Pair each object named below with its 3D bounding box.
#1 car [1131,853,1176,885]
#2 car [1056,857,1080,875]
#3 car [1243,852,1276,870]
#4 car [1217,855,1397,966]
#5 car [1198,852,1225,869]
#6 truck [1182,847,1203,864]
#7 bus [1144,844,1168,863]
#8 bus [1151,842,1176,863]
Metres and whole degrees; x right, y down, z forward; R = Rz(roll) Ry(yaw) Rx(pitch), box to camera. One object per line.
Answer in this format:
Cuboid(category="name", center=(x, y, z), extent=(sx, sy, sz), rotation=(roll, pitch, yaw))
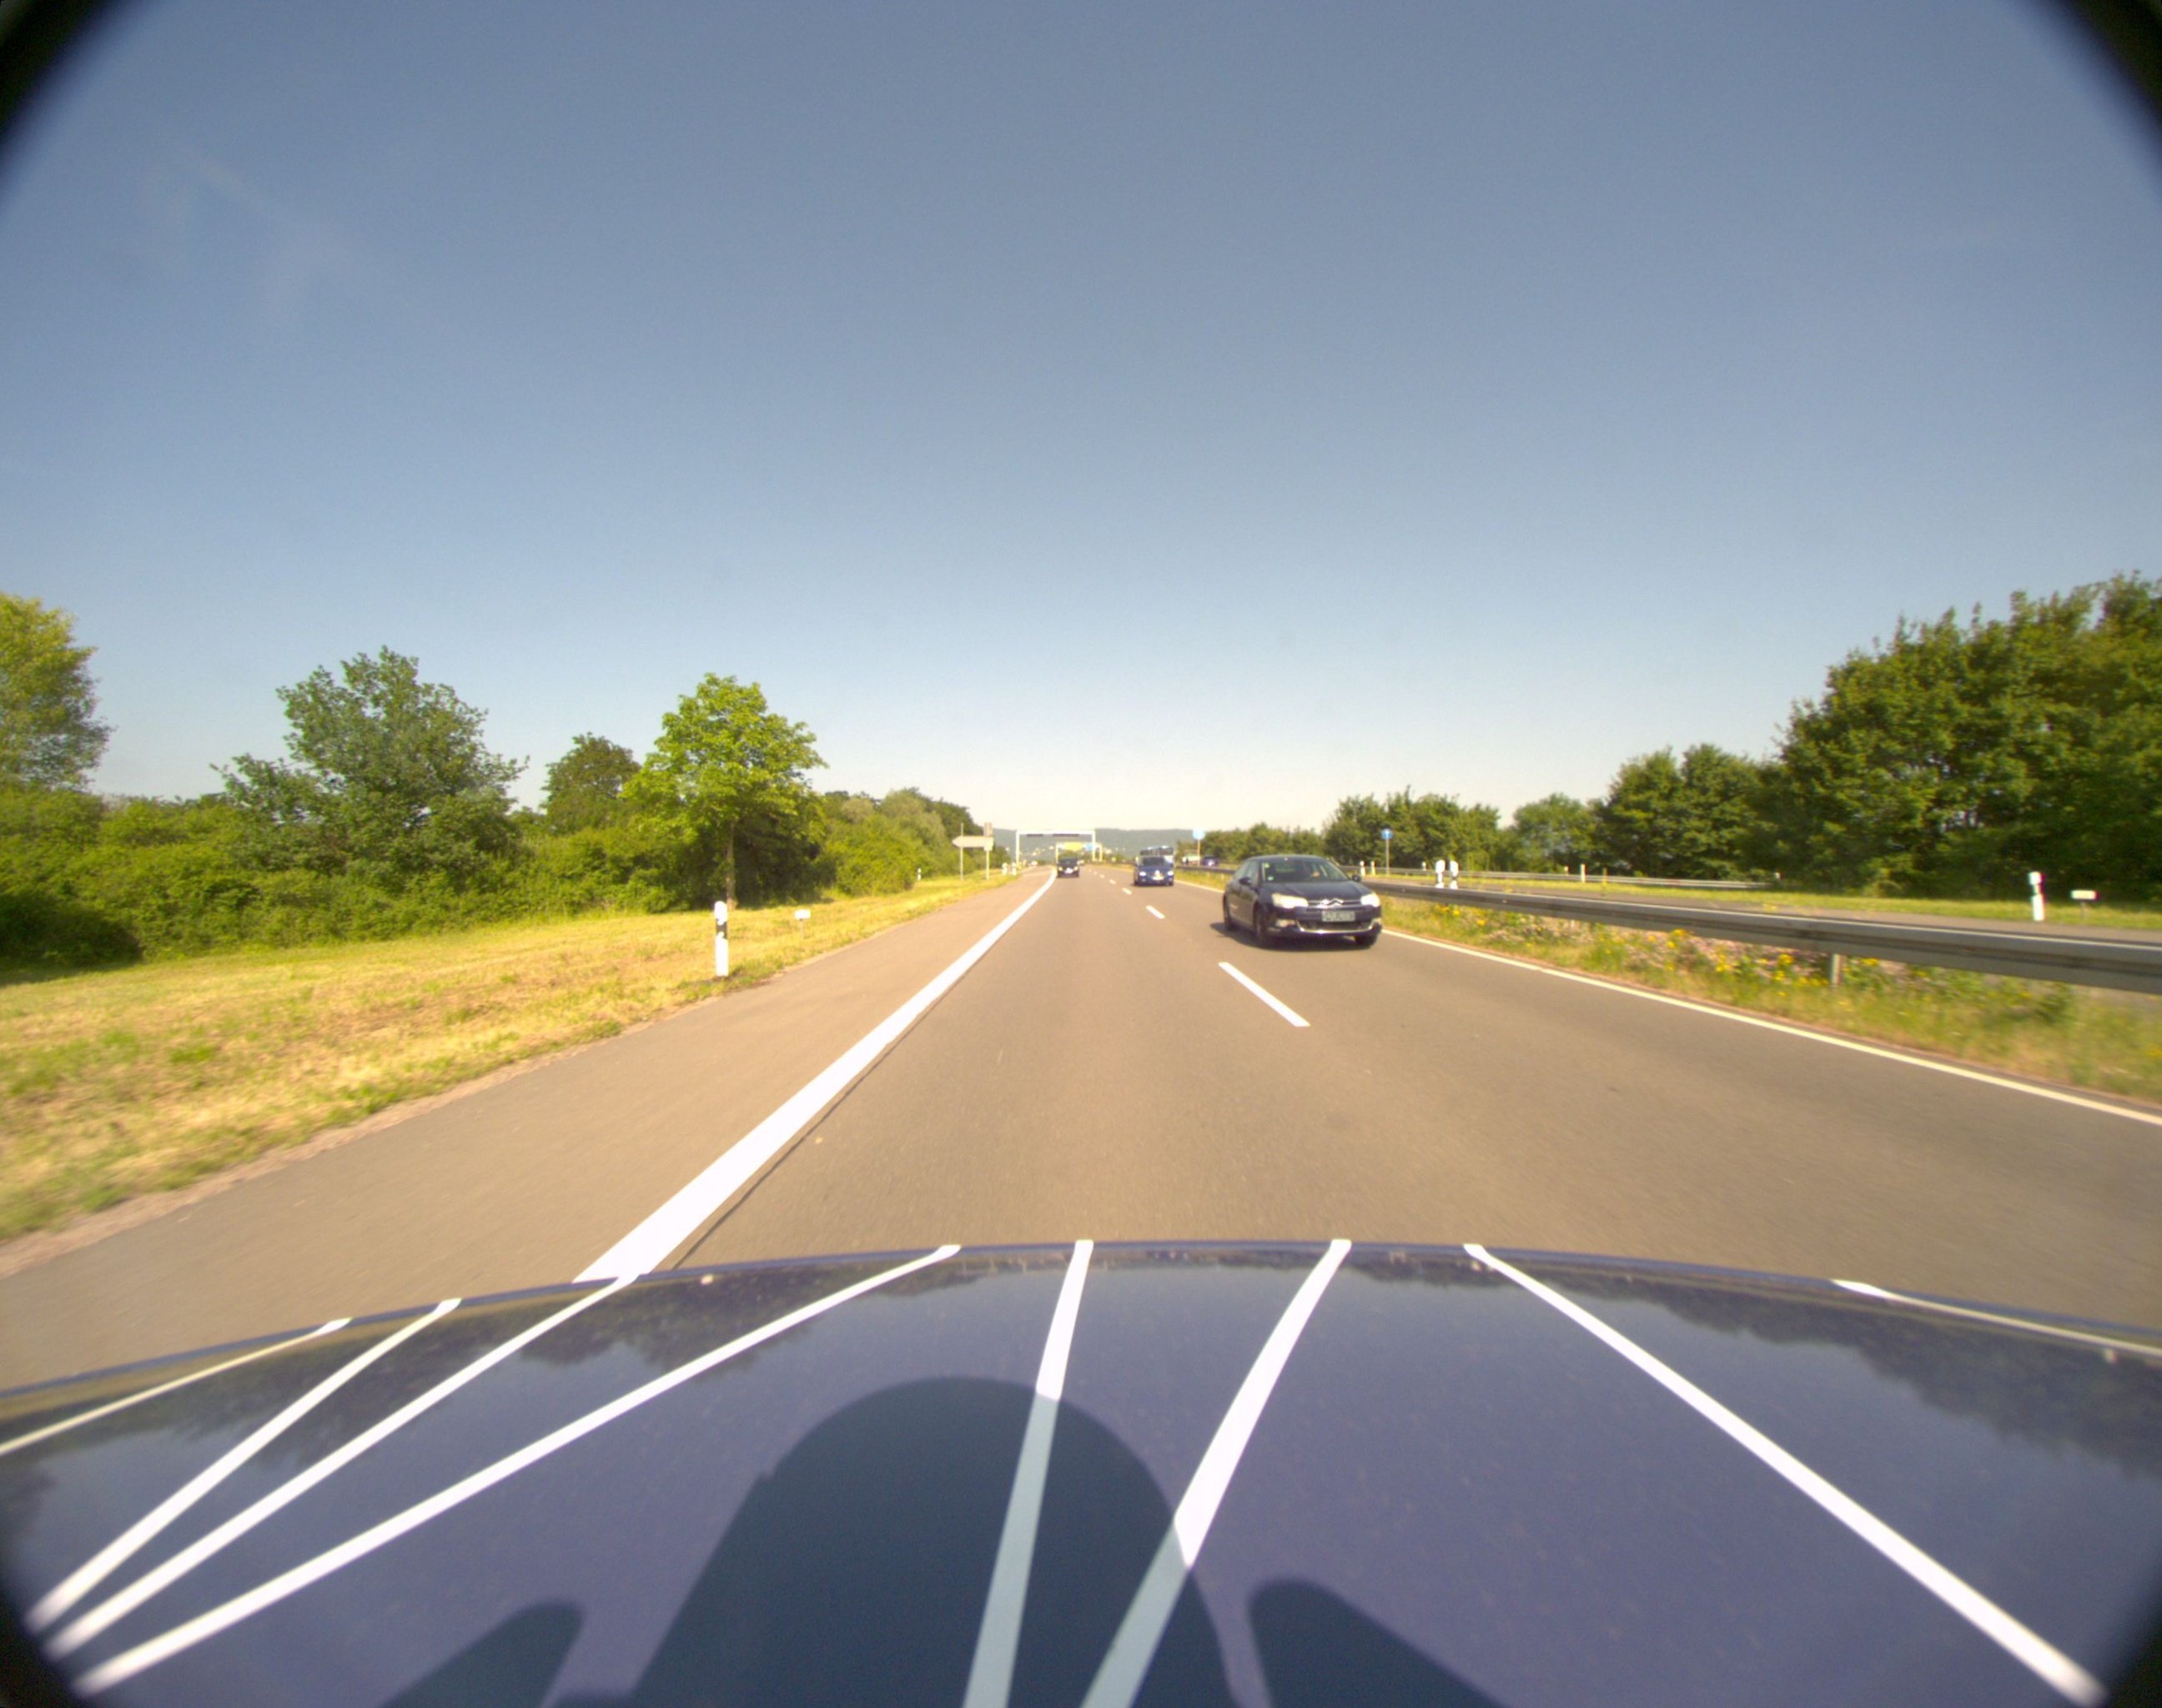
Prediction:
Cuboid(category="car", center=(3.490, 0.705, 37.209), extent=(1.652, 1.403, 3.774), rotation=(-2, 0, -3))
Cuboid(category="car", center=(-0.929, 0.850, 56.387), extent=(1.600, 1.241, 4.001), rotation=(-2, -1, 2))
Cuboid(category="car", center=(18.305, 0.697, 78.231), extent=(1.839, 1.690, 4.750), rotation=(-1, 0, -5))
Cuboid(category="car", center=(3.659, 0.820, 13.150), extent=(1.788, 1.524, 4.375), rotation=(-2, 0, 1))
Cuboid(category="car", center=(13.865, 0.703, 80.844), extent=(1.999, 1.596, 4.274), rotation=(-2, -1, -1))
Cuboid(category="truck", center=(16.692, 0.267, 114.243), extent=(2.132, 2.439, 6.616), rotation=(1, 0, -1))
Cuboid(category="bus", center=(12.231, -0.067, 124.168), extent=(2.732, 3.092, 9.833), rotation=(-1, 0, -2))
Cuboid(category="bus", center=(12.452, -0.201, 115.080), extent=(2.732, 3.092, 8.392), rotation=(-1, 0, -1))
